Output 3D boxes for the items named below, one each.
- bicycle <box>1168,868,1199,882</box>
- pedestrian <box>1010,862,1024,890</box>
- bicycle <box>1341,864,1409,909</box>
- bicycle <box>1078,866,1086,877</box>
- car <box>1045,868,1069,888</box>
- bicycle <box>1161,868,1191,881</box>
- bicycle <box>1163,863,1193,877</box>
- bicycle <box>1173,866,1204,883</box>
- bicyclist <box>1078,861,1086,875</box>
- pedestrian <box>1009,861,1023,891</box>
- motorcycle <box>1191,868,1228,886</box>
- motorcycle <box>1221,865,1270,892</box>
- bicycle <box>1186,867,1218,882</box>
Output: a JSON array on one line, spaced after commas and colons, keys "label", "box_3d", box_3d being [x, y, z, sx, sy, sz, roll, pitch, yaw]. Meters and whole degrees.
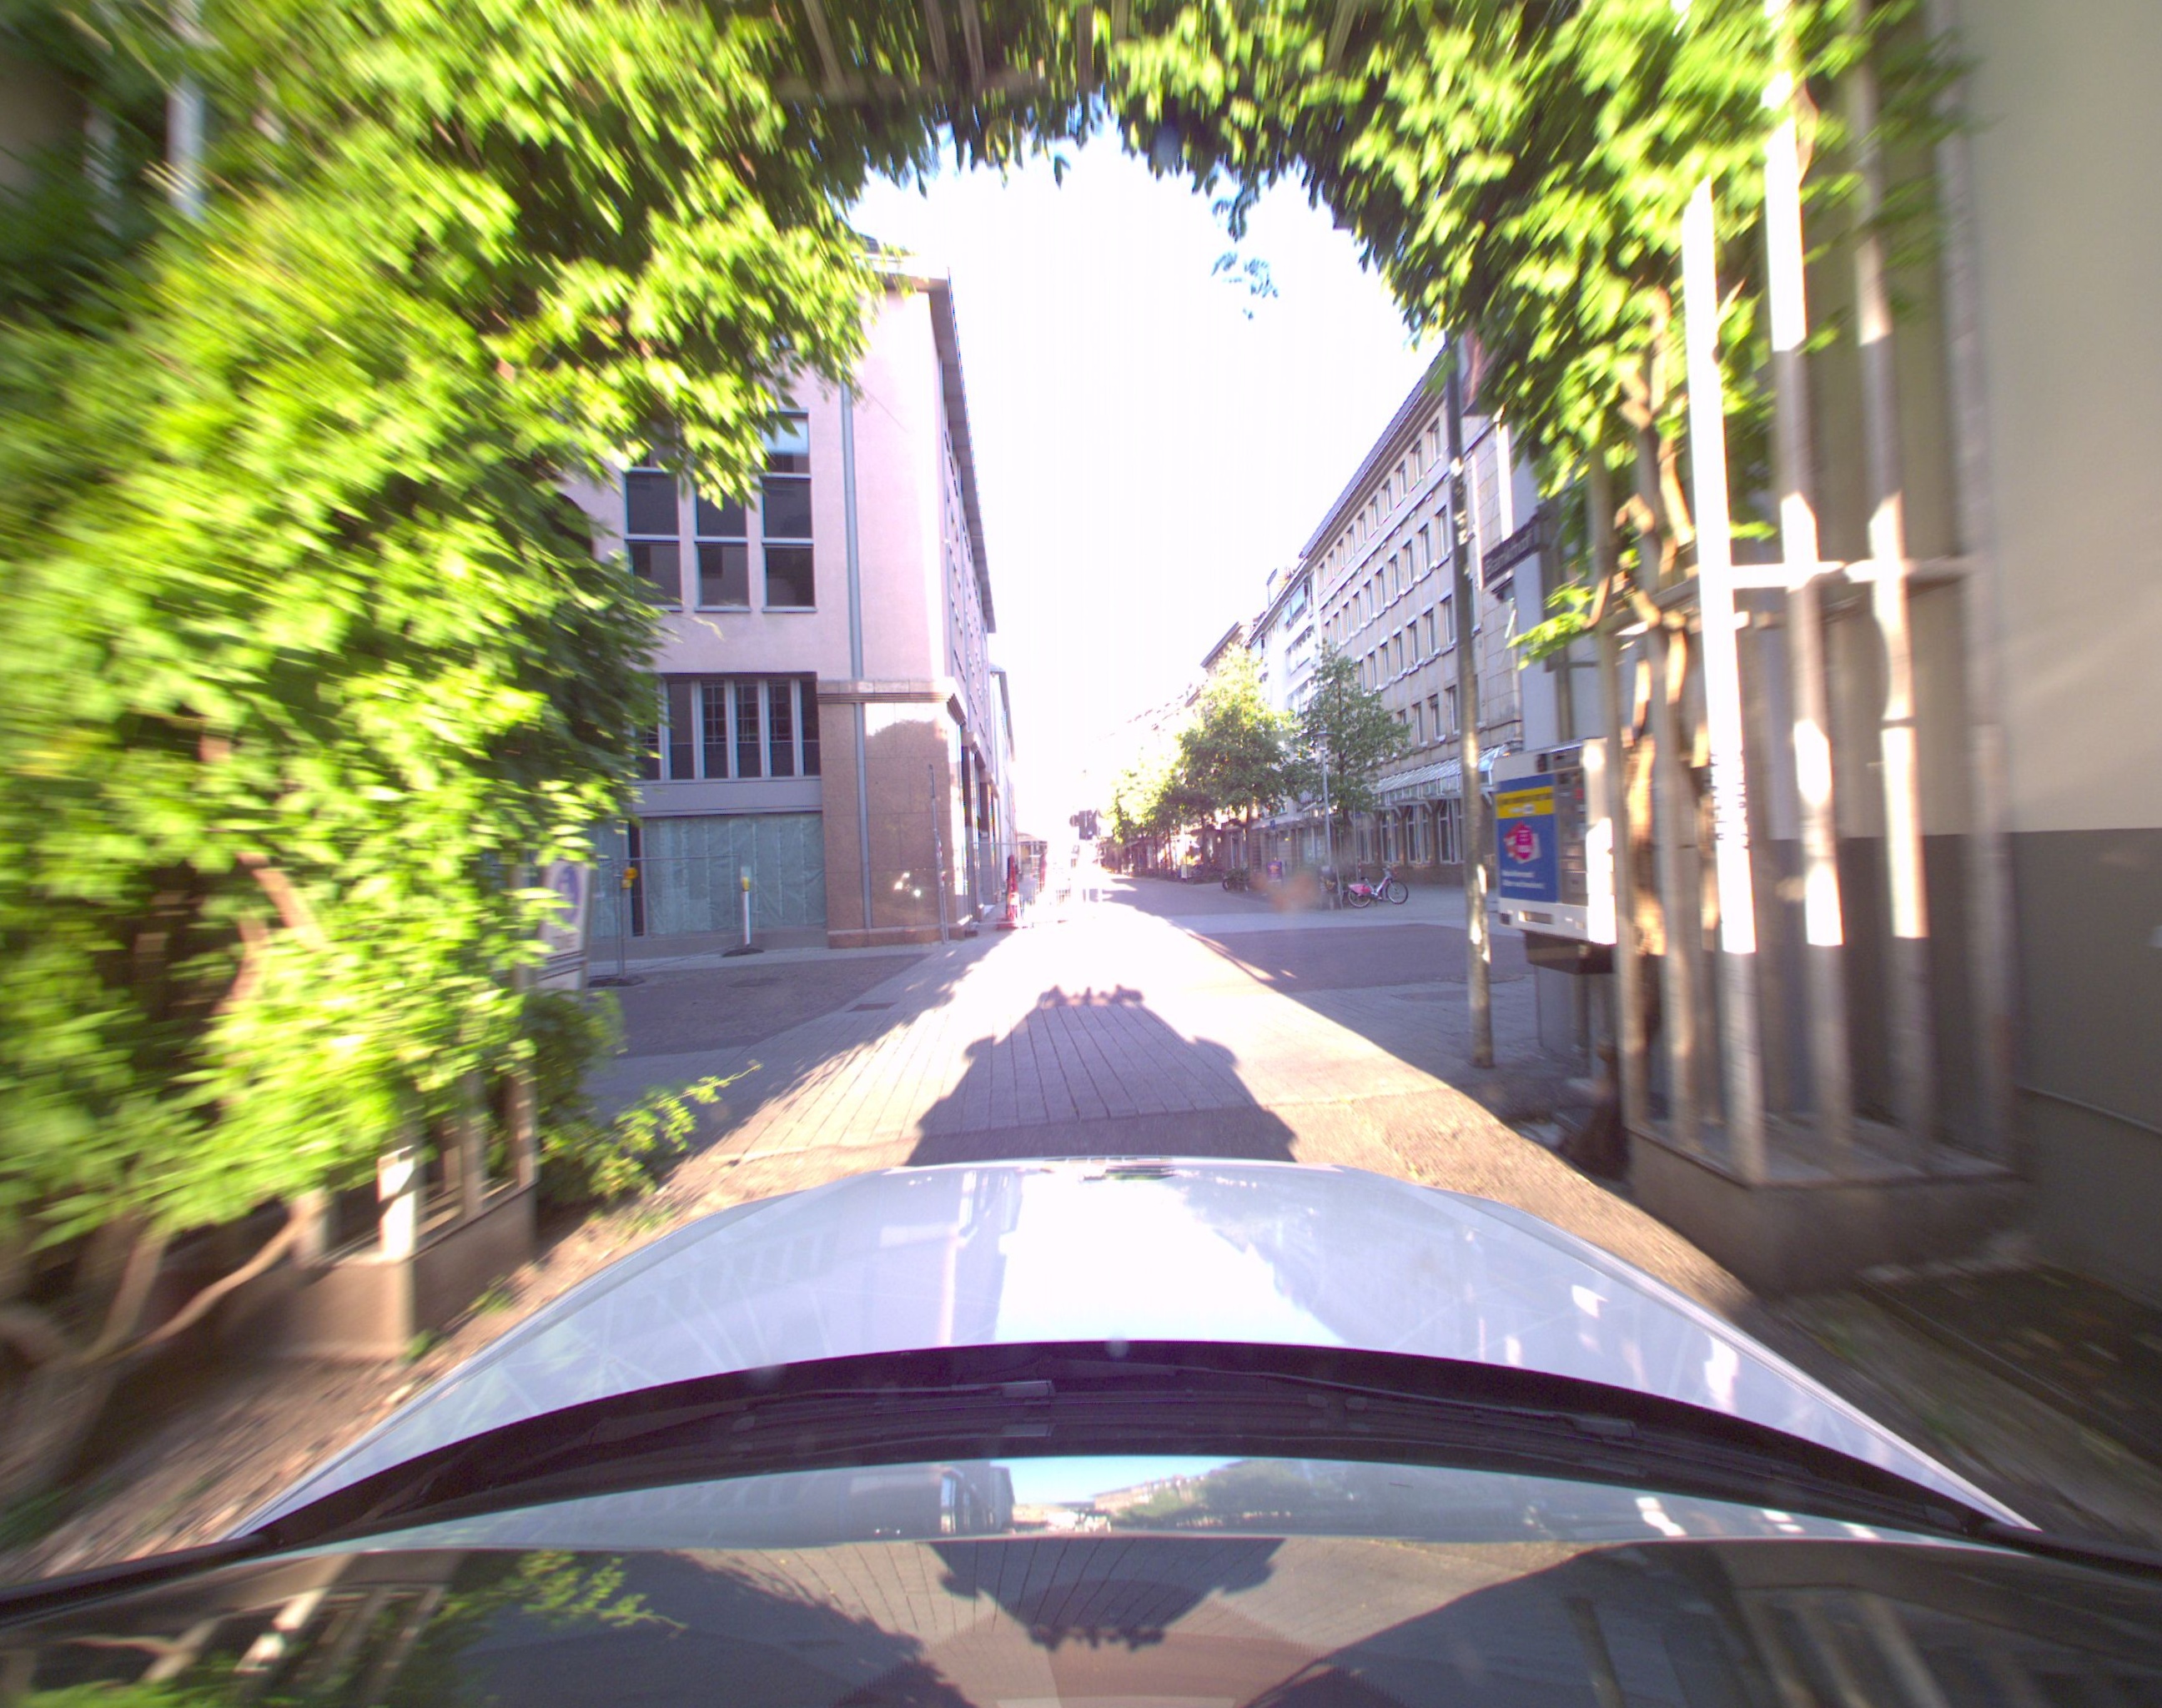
[{"label": "bicycle", "box_3d": [7.613, 1.585, 60.572, 2.152, 0.926, 0.589, -3, -2, -9]}, {"label": "pedestrian", "box_3d": [-3.923, 1.348, 49.756, 0.651, 1.651, 0.634, -3, -1, 3]}, {"label": "bicycle", "box_3d": [8.098, 0.898, 22.483, 1.643, 1.050, 0.666, -6, 0, 16]}, {"label": "bicycle", "box_3d": [0.136, 1.870, 88.195, 0.588, 1.095, 2.156, -3, -2, -5]}, {"label": "car", "box_3d": [-2.239, 2.211, 74.339, 1.840, 1.684, 3.636, -3, -1, -6]}, {"label": "bicycle", "box_3d": [7.302, 1.573, 62.498, 2.152, 0.926, 0.589, -3, -2, -9]}, {"label": "bicycle", "box_3d": [7.323, 1.226, 61.676, 2.152, 0.926, 0.589, -3, -2, -9]}, {"label": "bicycle", "box_3d": [7.703, 1.474, 58.341, 2.138, 1.061, 0.593, -4, -2, 12]}, {"label": "bicyclist", "box_3d": [0.138, 1.560, 87.997, 0.720, 1.468, 0.716, -3, -2, -5]}, {"label": "pedestrian", "box_3d": [-3.939, 1.296, 49.087, 0.651, 1.764, 0.634, -3, -1, 3]}, {"label": "motorcycle", "box_3d": [8.761, 1.543, 55.365, 2.482, 1.095, 0.586, -3, -2, -24]}, {"label": "motorcycle", "box_3d": [7.859, 1.173, 38.897, 2.149, 1.151, 0.493, -3, -2, -4]}, {"label": "bicycle", "box_3d": [8.384, 1.410, 56.468, 2.158, 0.926, 0.587, -3, -2, -17]}]
